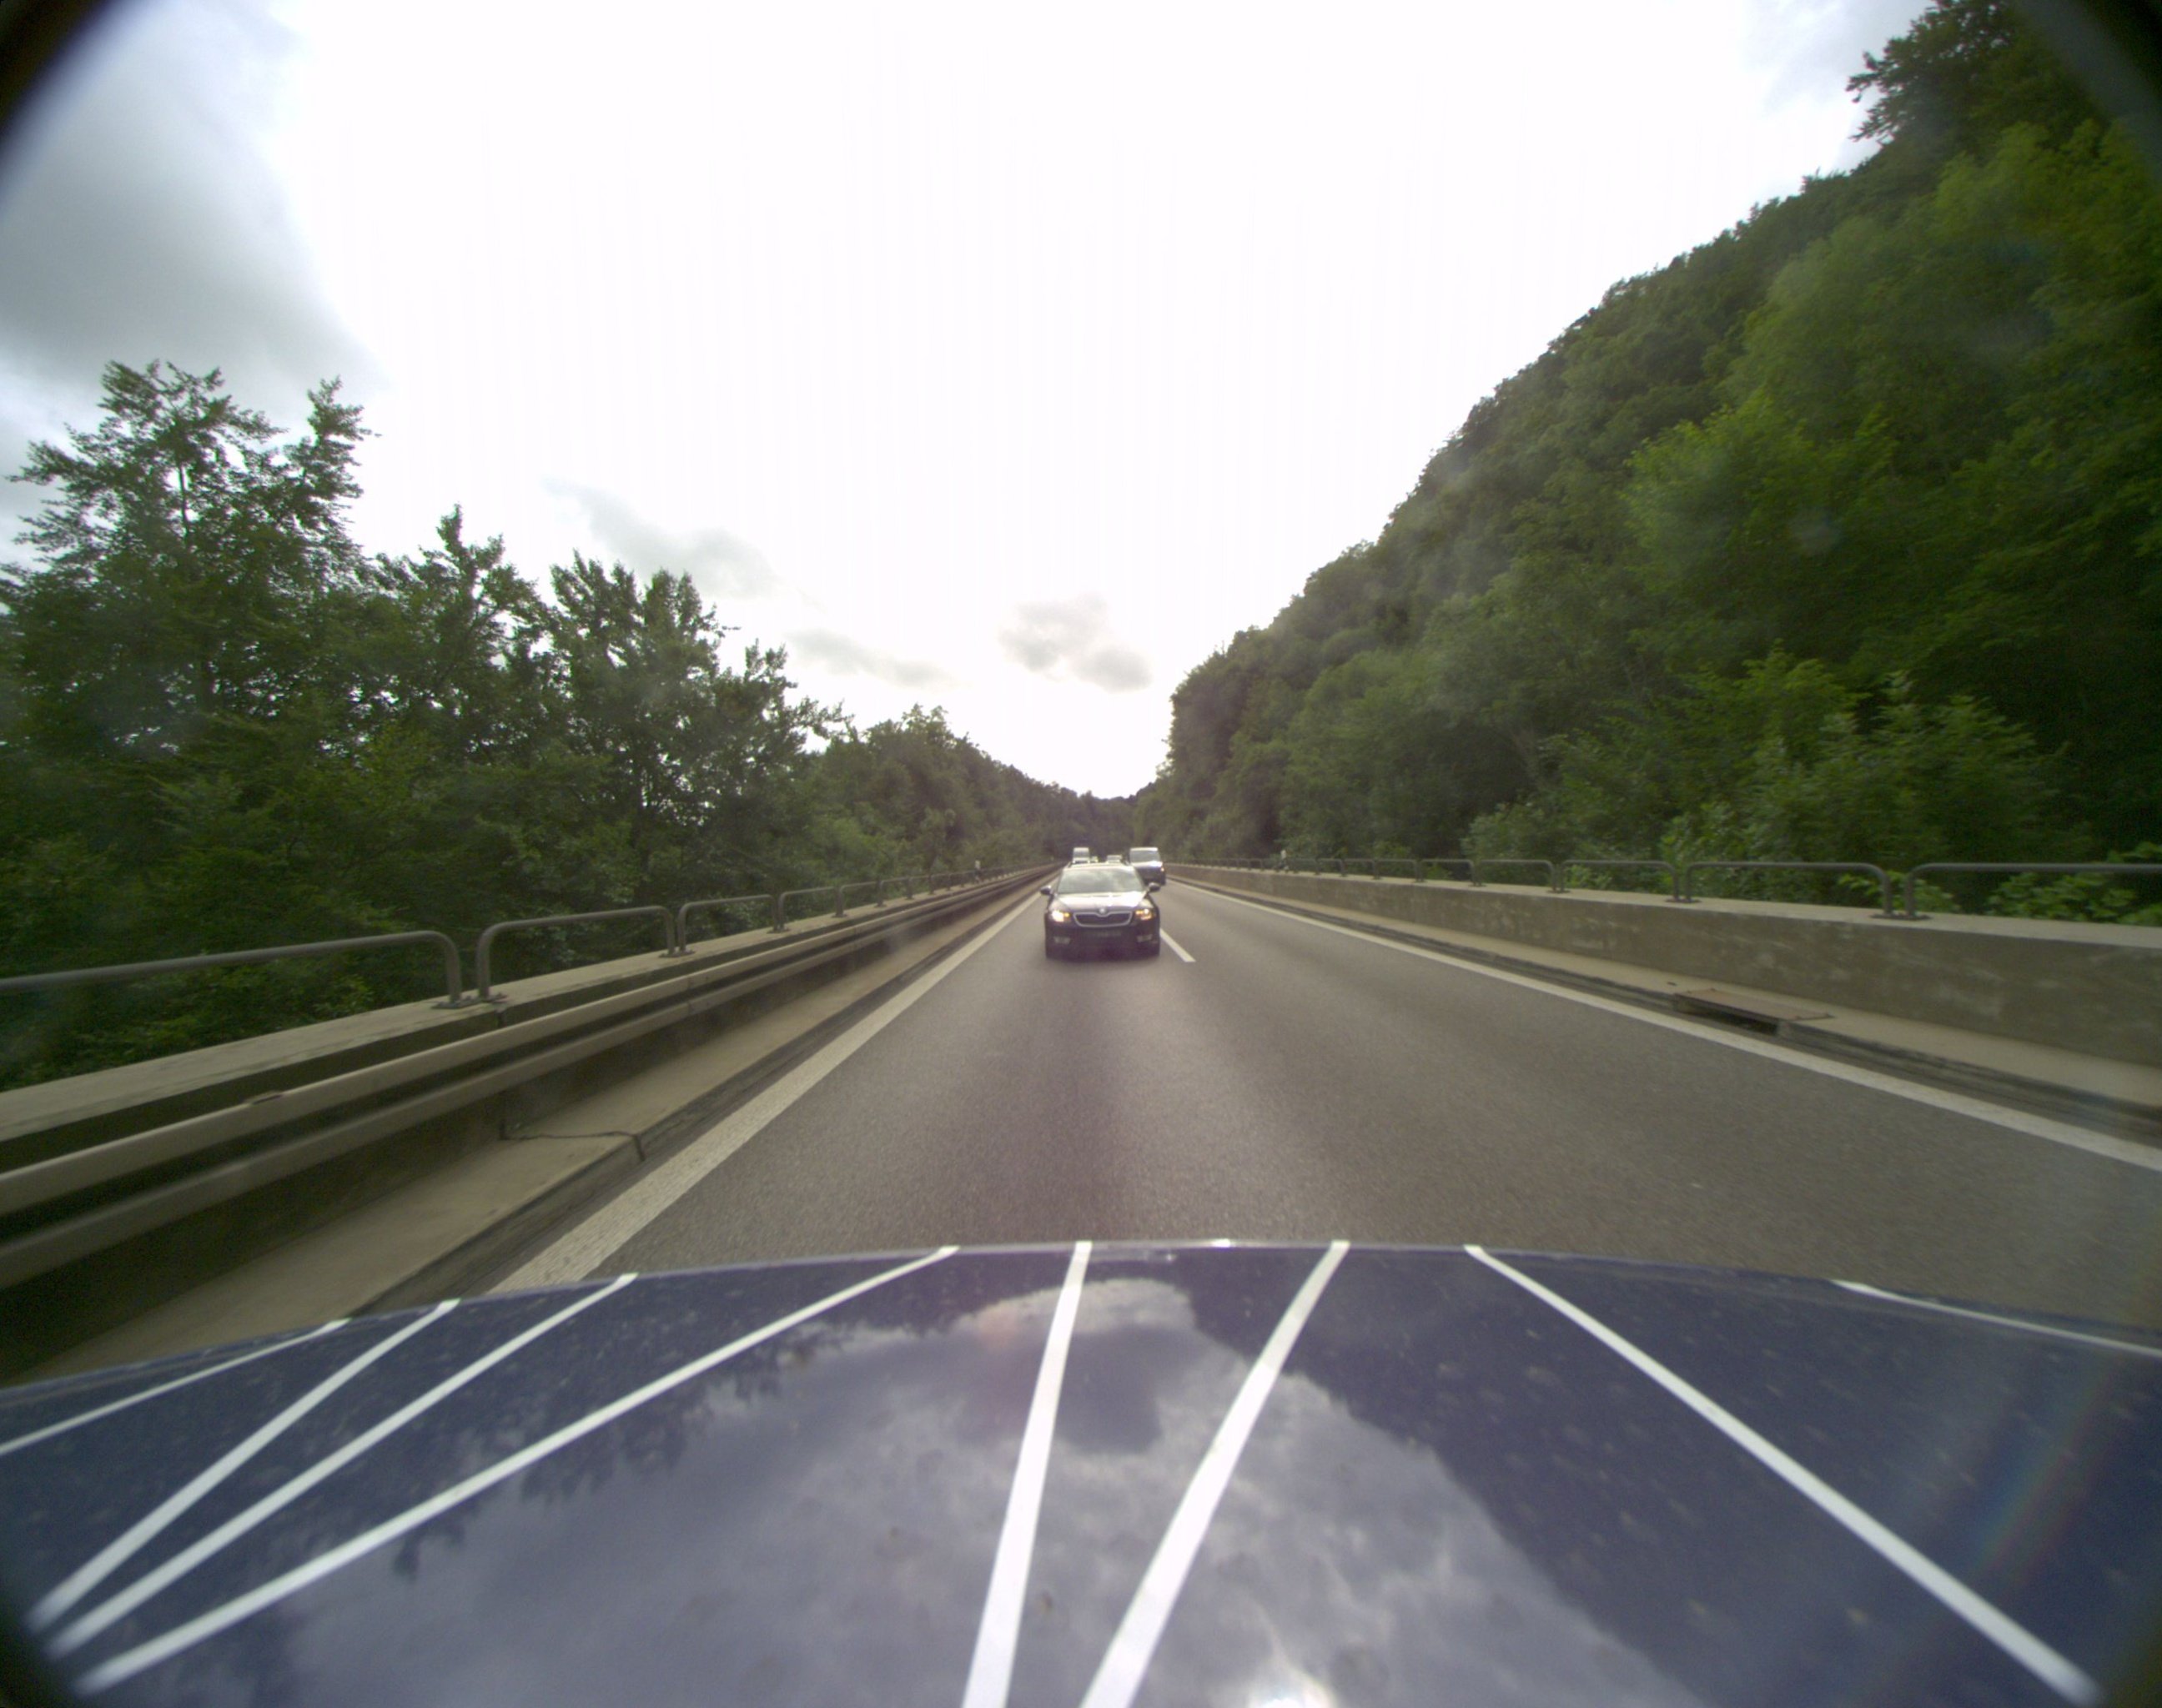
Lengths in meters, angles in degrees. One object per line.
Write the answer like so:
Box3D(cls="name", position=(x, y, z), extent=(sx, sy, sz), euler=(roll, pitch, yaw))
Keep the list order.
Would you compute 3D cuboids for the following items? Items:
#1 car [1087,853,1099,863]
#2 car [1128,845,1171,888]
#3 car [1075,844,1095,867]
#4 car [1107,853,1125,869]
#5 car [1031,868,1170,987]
Box3D(cls="car", position=(2.017, 0.695, 126.230), extent=(1.998, 1.608, 4.000), euler=(-1, 0, 2))
Box3D(cls="car", position=(3.598, 0.615, 40.739), extent=(1.998, 2.002, 5.541), euler=(-4, 0, 3))
Box3D(cls="car", position=(0.464, 0.191, 88.708), extent=(2.099, 2.547, 5.921), euler=(1, -1, 2))
Box3D(cls="car", position=(3.915, 0.780, 84.600), extent=(1.975, 1.584, 5.585), euler=(-1, 1, 3))
Box3D(cls="car", position=(0.252, 0.935, 11.429), extent=(1.638, 1.384, 4.499), euler=(-2, -1, 0))
